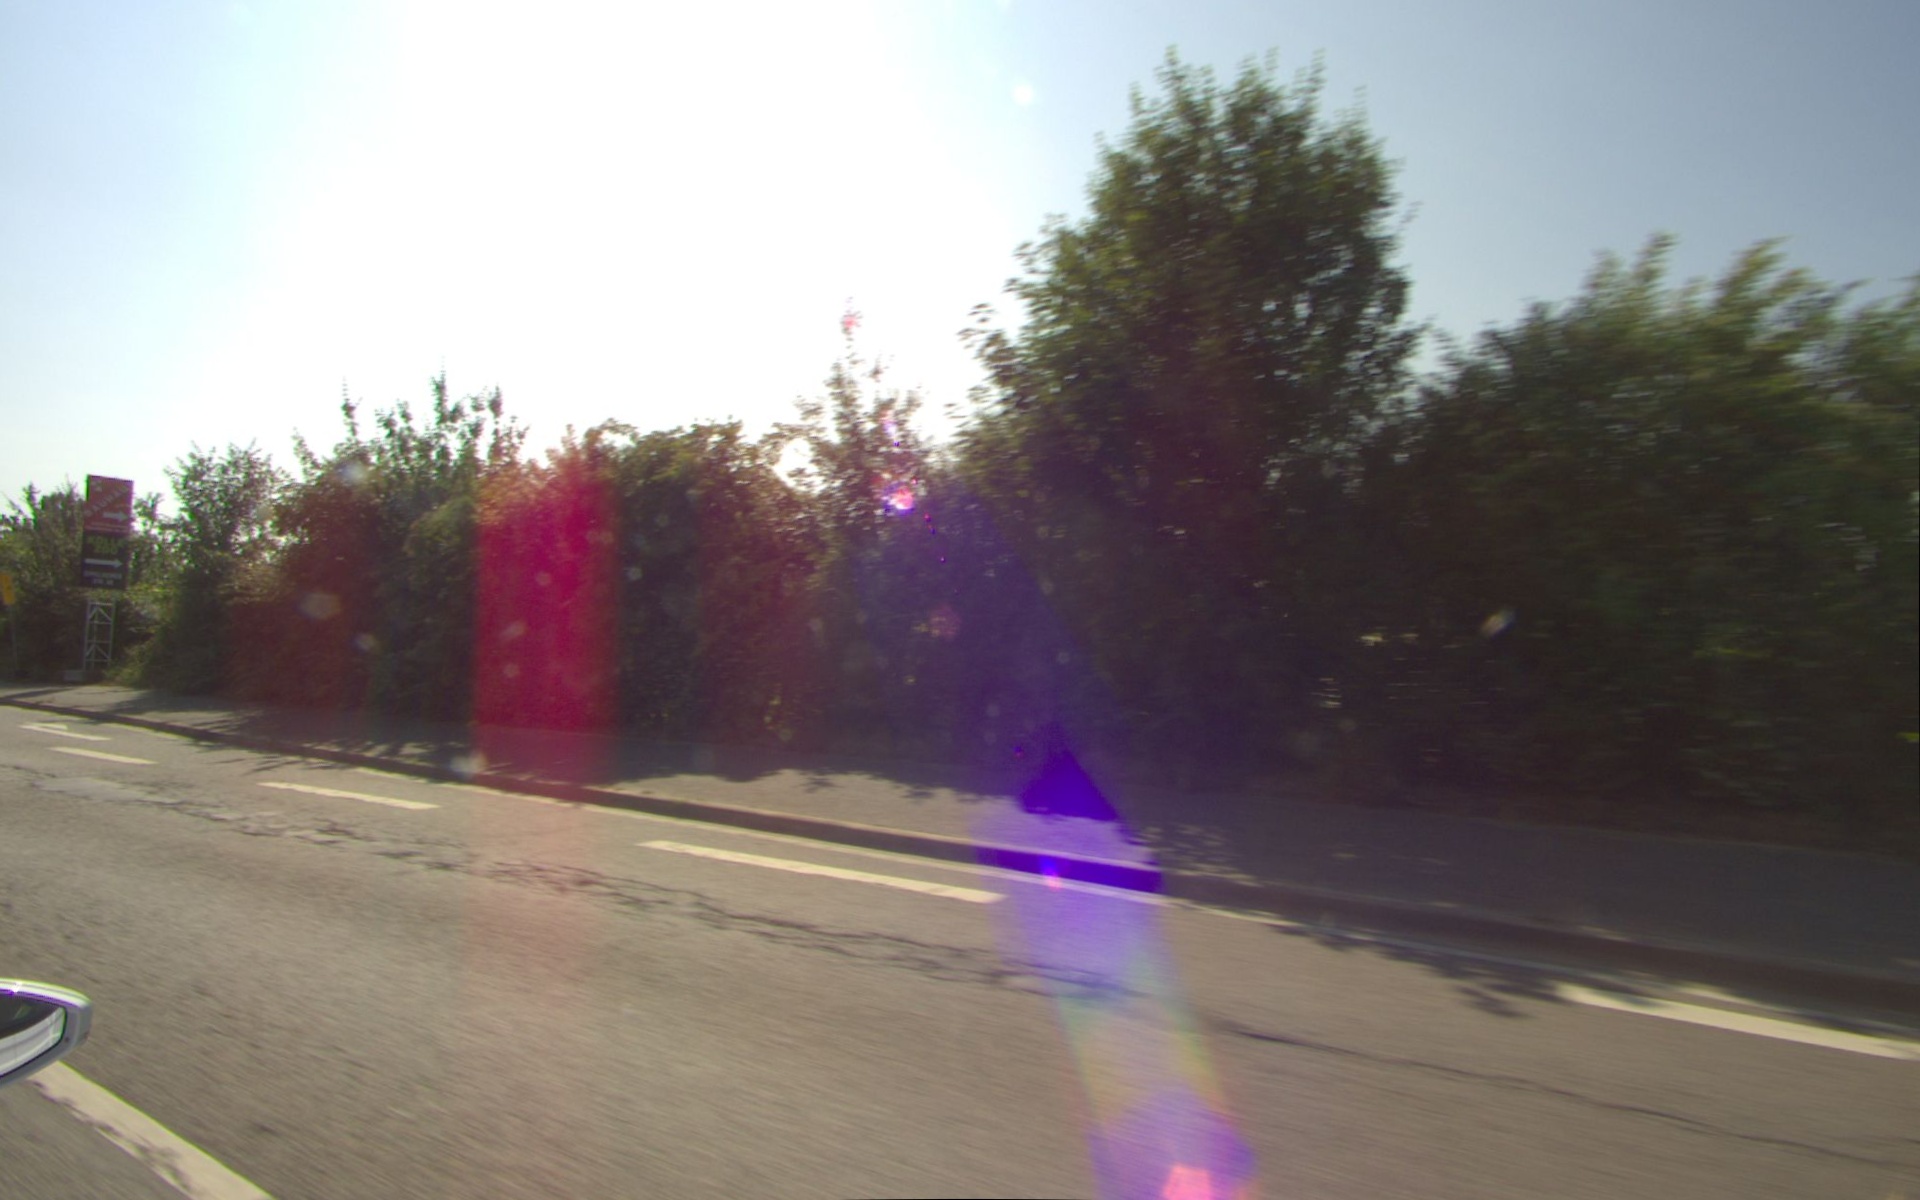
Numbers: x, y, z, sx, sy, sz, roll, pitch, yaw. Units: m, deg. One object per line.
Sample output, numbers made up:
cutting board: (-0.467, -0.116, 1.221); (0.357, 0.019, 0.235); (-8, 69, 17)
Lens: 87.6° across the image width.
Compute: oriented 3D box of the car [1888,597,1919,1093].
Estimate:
car: (4.915, 0.774, 1.693); (4.618, 1.700, 1.899); (-1, -4, 34)
